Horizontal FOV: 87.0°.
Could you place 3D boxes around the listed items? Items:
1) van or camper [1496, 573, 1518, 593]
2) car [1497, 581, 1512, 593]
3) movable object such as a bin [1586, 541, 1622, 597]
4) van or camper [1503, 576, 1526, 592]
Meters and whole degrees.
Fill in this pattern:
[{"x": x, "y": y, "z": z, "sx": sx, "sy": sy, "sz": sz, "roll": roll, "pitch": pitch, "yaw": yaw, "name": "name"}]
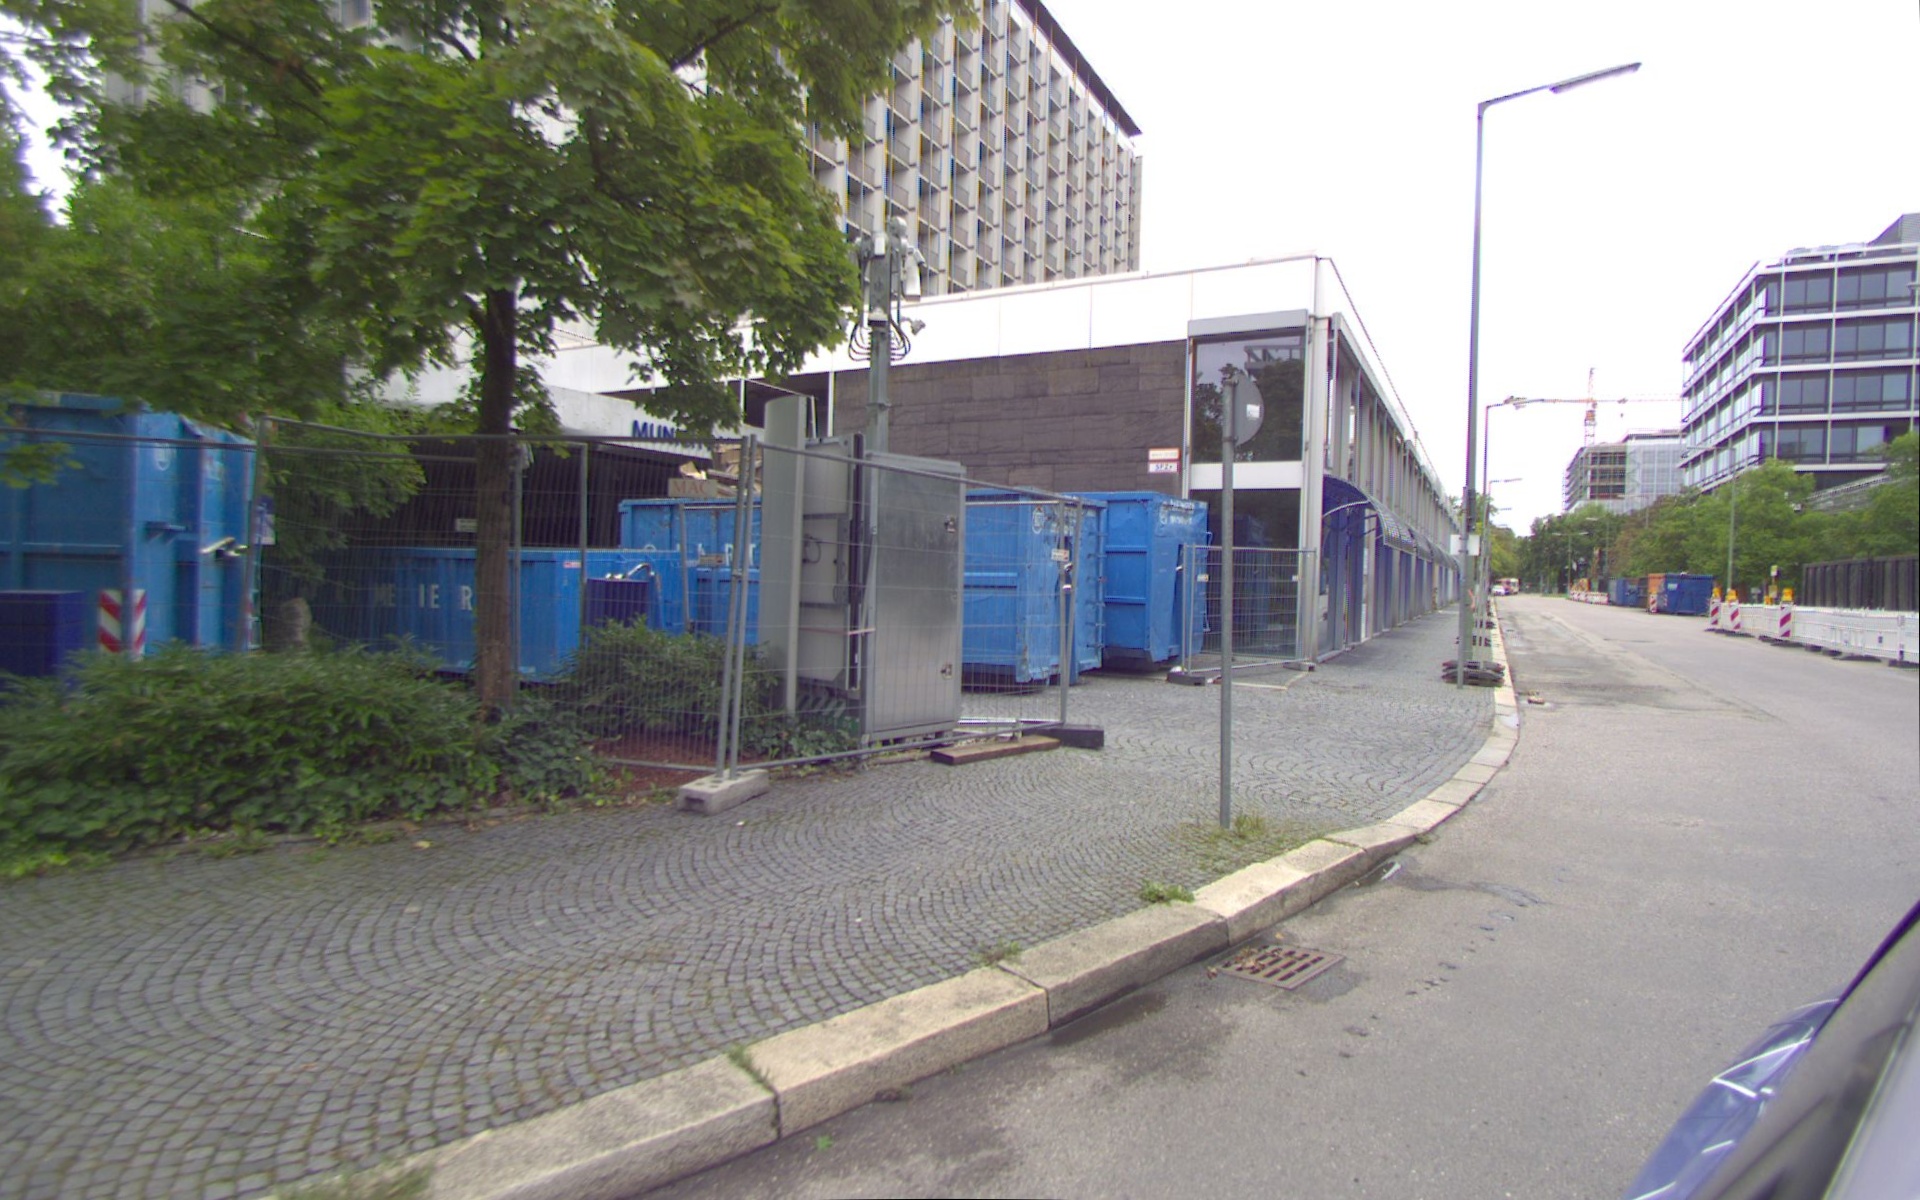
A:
[{"x": 83.298, "y": -2.586, "z": 154.046, "sx": 2.648, "sy": 2.801, "sz": 6.838, "roll": 2, "pitch": 2, "yaw": 31, "name": "van or camper"}, {"x": 80.036, "y": -1.916, "z": 148.753, "sx": 1.898, "sy": 1.657, "sz": 3.958, "roll": 2, "pitch": 2, "yaw": 30, "name": "car"}, {"x": 76.913, "y": -3.710, "z": 120.989, "sx": 3.218, "sy": 6.400, "sz": 8.246, "roll": 2, "pitch": 2, "yaw": 30, "name": "movable object such as a bin"}, {"x": 90.969, "y": -2.664, "z": 165.973, "sx": 2.651, "sy": 2.481, "sz": 6.366, "roll": 2, "pitch": 2, "yaw": 34, "name": "van or camper"}]
